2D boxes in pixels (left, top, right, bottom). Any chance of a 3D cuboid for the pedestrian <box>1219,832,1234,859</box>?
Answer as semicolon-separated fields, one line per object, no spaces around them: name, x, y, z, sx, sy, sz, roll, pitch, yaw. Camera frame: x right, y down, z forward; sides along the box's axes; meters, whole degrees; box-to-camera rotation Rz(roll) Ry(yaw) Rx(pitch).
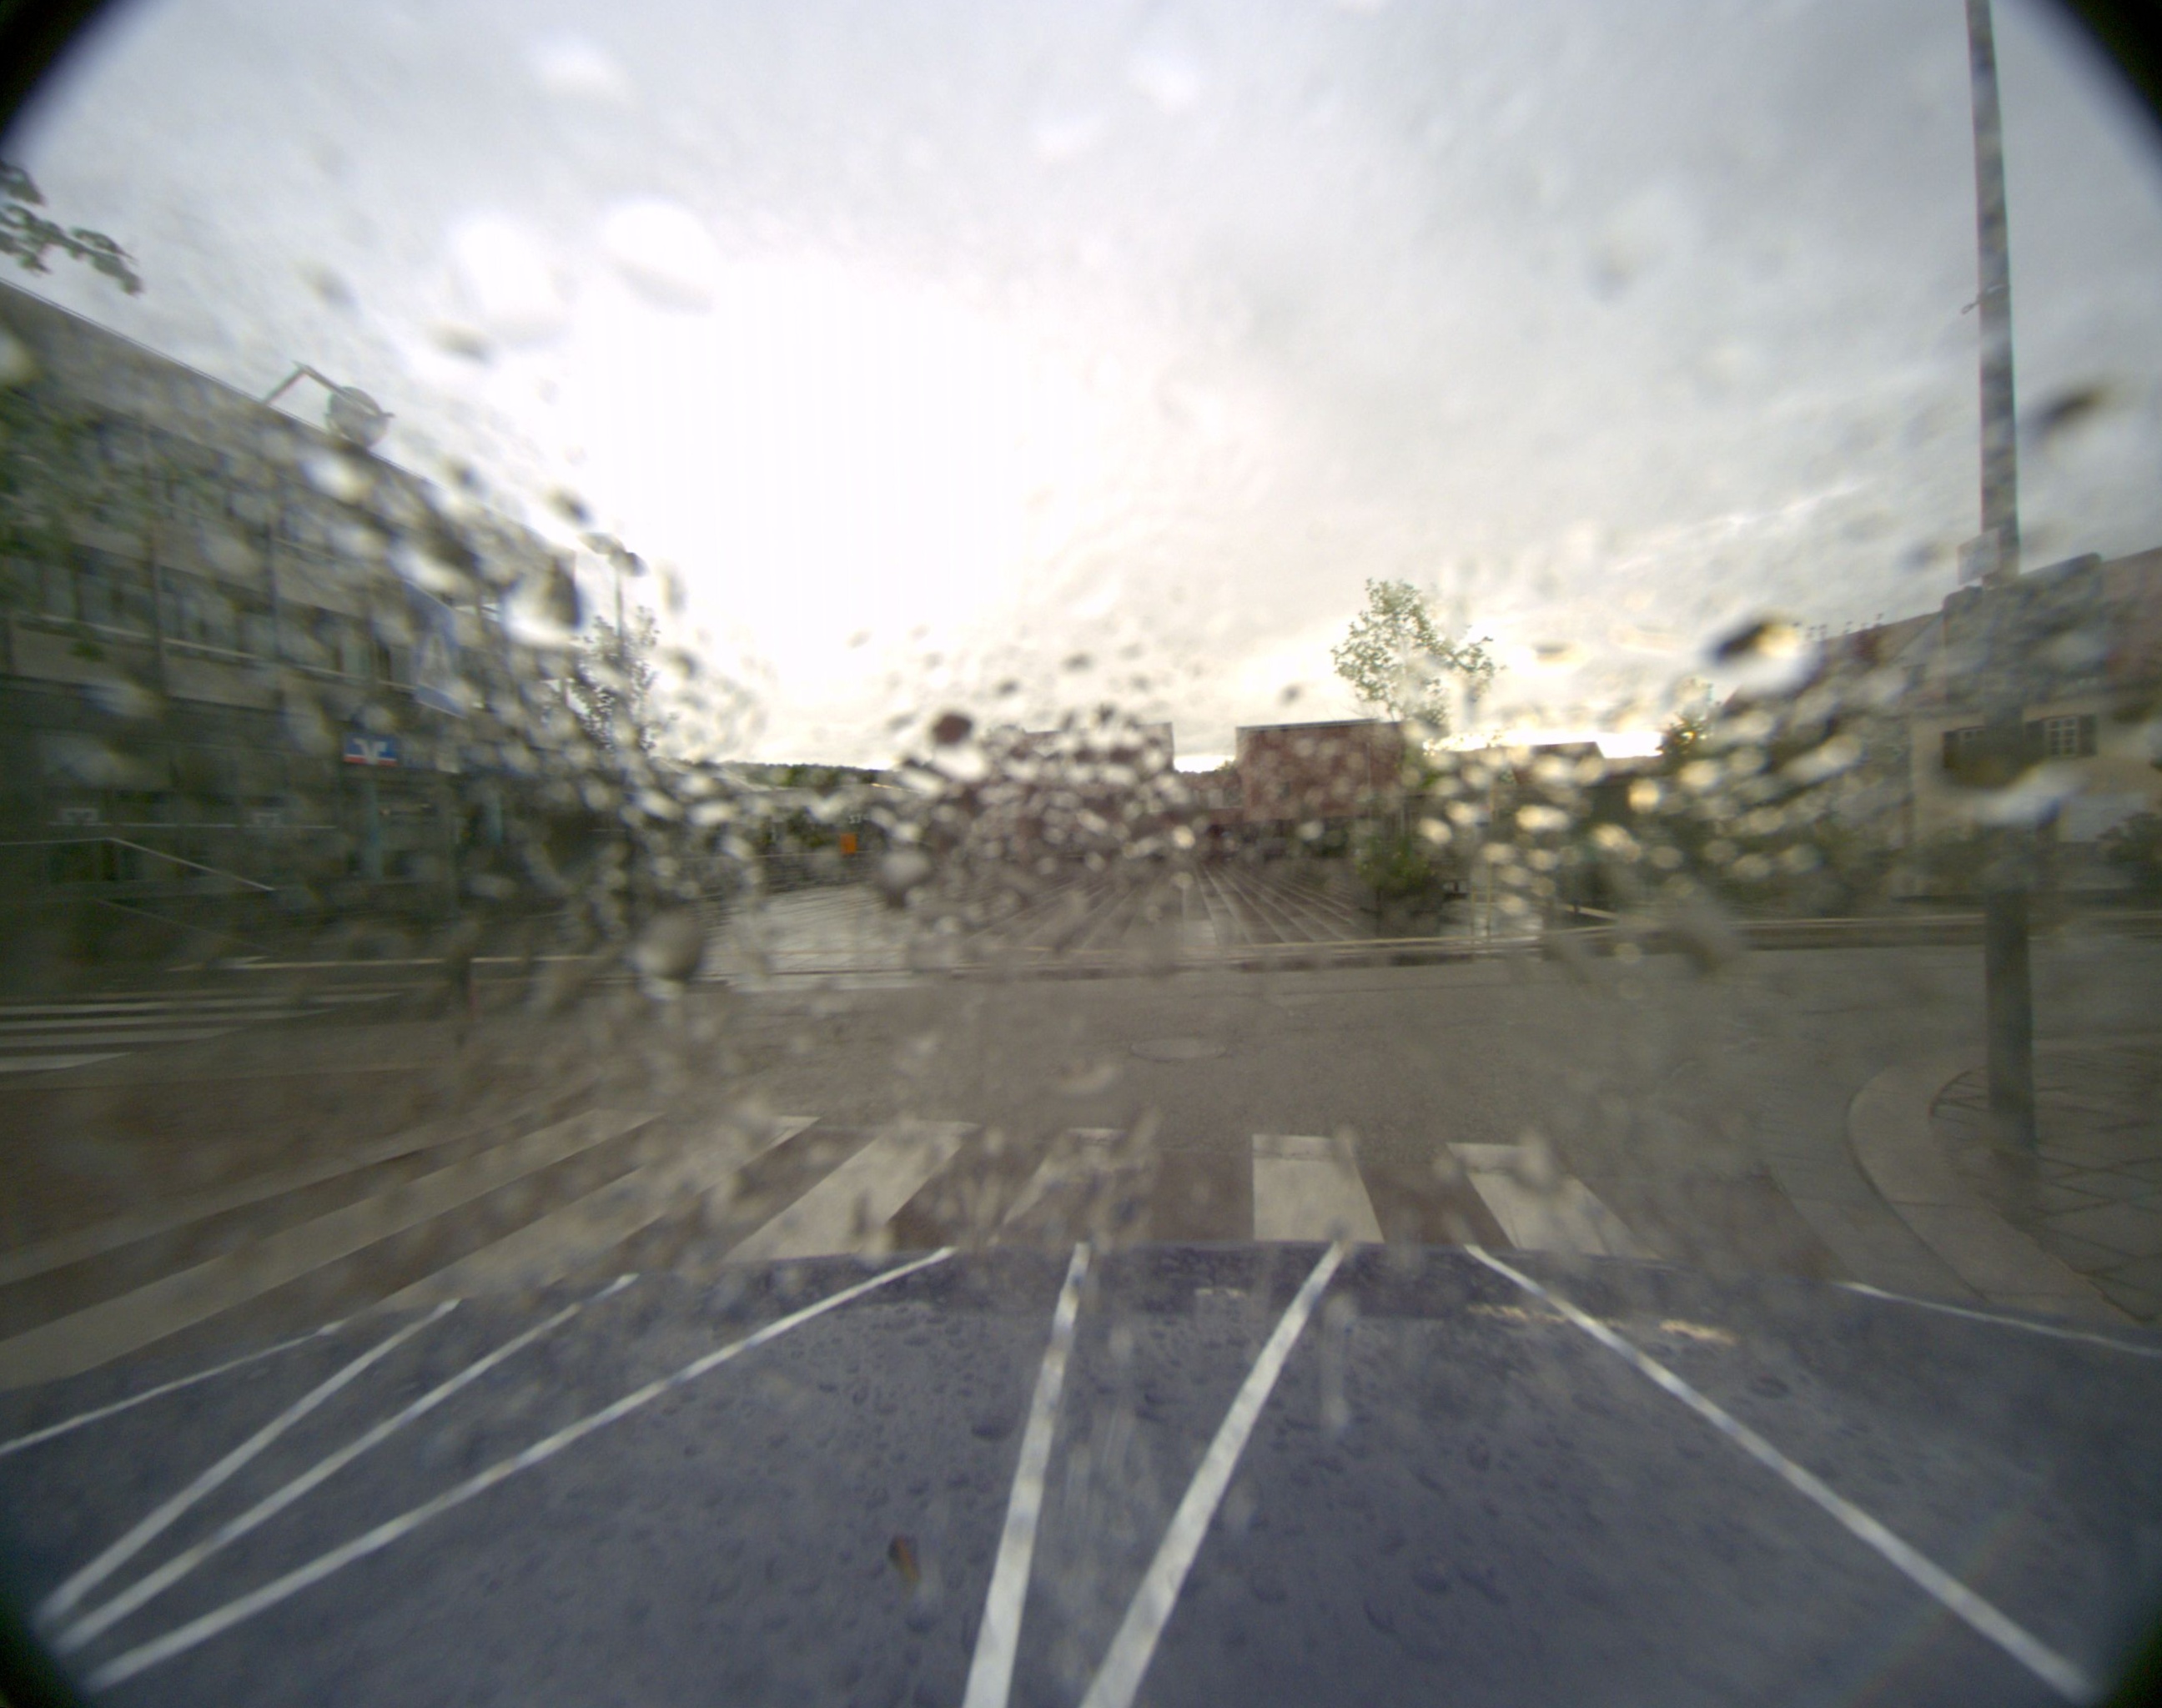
pedestrian;10.770;-0.639;56.153;0.730;2.002;0.864;1;3;42

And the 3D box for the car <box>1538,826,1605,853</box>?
car;41.630;-1.248;64.540;4.371;2.205;2.000;-1;2;6

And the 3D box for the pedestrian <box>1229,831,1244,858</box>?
pedestrian;11.570;-0.692;56.669;0.730;2.002;0.864;1;3;42

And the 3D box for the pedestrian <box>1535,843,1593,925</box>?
pedestrian;9.866;0.586;15.536;0.693;1.608;0.730;-2;2;-3
